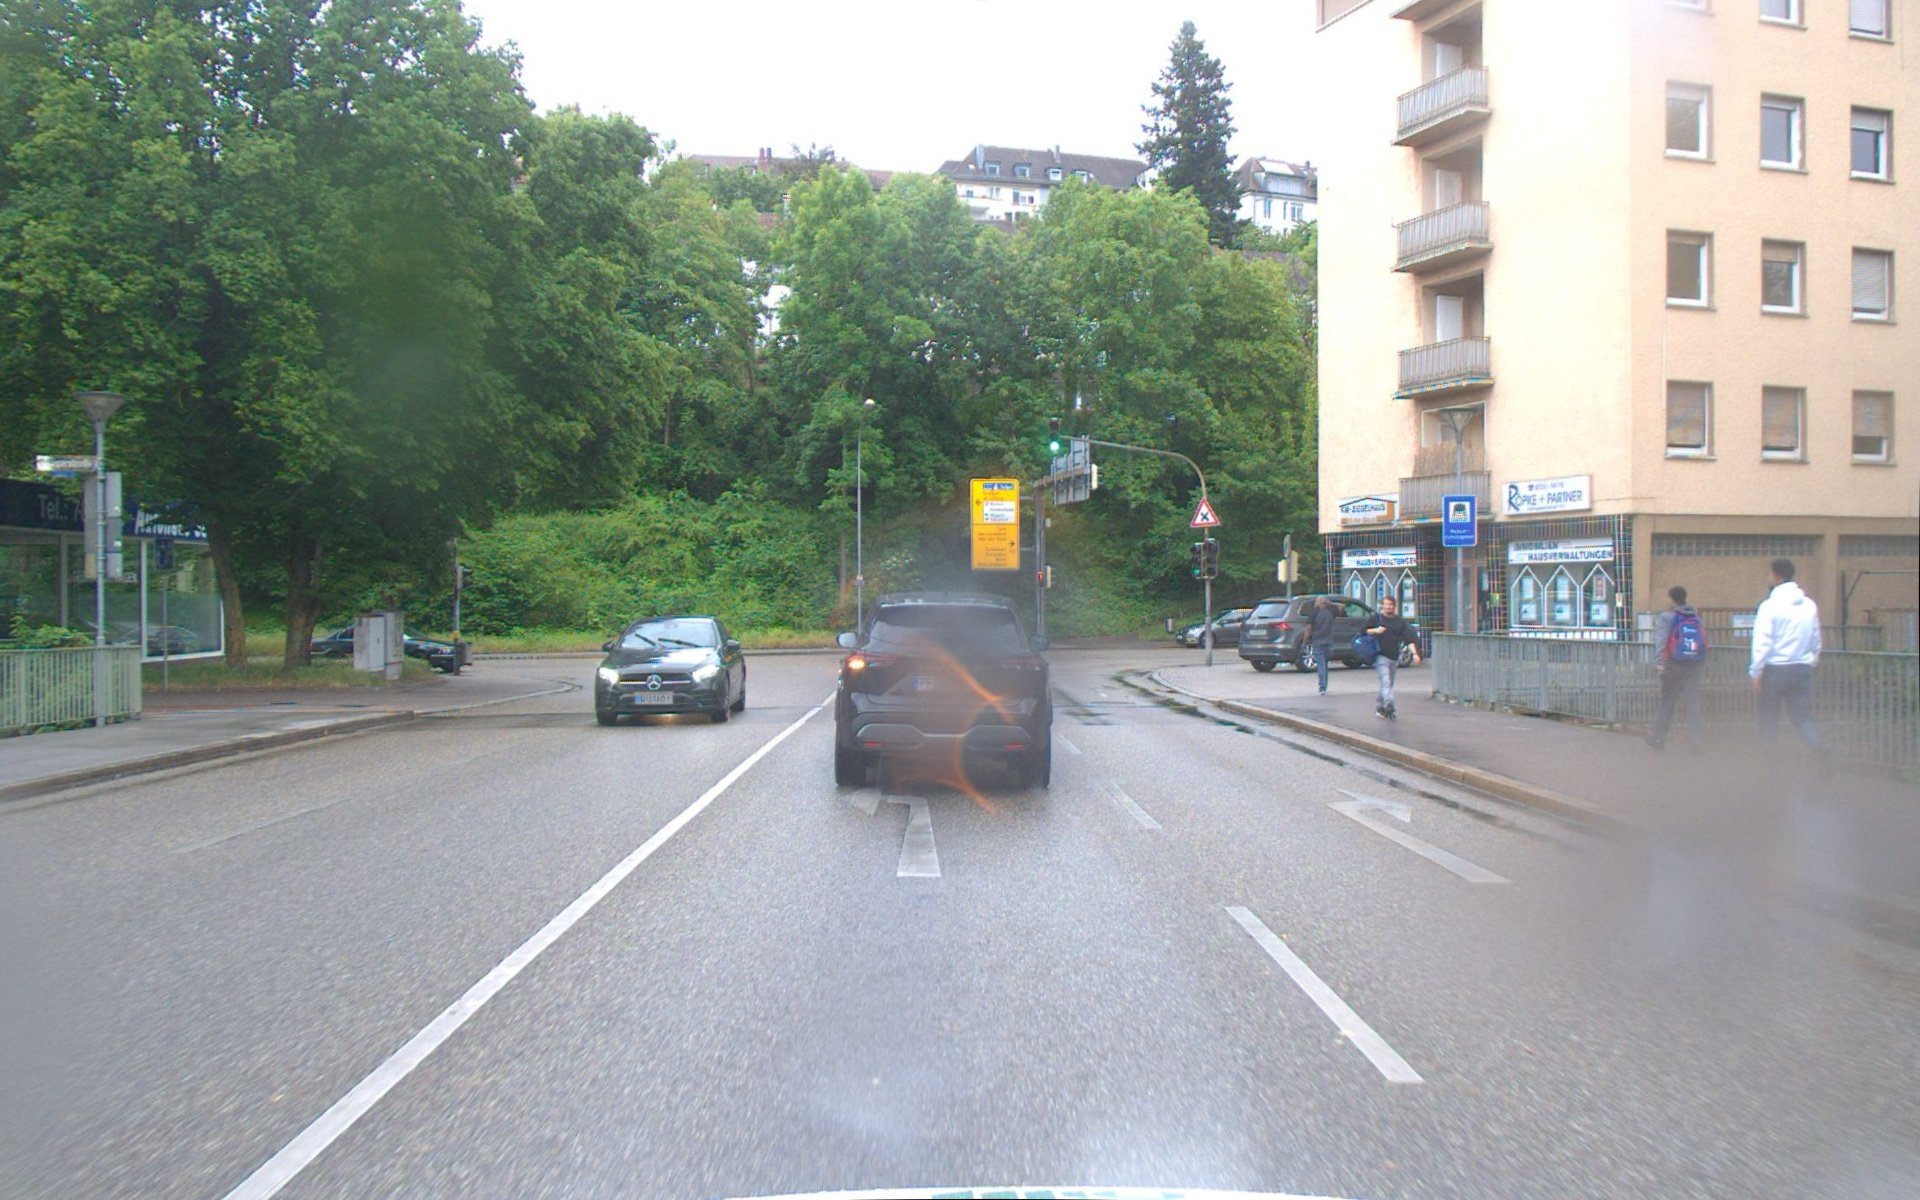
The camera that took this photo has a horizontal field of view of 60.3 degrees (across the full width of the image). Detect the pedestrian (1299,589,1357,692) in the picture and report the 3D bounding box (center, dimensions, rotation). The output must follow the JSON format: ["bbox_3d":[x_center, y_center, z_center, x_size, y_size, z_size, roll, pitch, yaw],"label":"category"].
[{"bbox_3d":[6.269,0.678,28.232,0.745,1.706,0.781,-2,0,-1],"label":"pedestrian"}]

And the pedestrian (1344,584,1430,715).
[{"bbox_3d":[5.549,0.632,21.527,0.845,1.647,0.839,-2,0,-1],"label":"pedestrian"}]

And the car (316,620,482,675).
[{"bbox_3d":[-16.493,1.401,48.690,4.319,1.485,1.735,-2,-1,13],"label":"car"}]

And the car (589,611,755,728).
[{"bbox_3d":[-3.986,0.910,23.486,1.675,1.441,4.093,-2,0,-1],"label":"car"}]

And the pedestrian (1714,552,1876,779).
[{"bbox_3d":[6.850,0.518,13.624,0.764,1.783,1.060,-1,0,-2],"label":"pedestrian"}]

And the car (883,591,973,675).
[{"bbox_3d":[-0.680,0.655,35.153,1.774,1.631,3.999,1,0,-1],"label":"car"}]

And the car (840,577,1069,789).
[{"bbox_3d":[-0.079,0.670,14.848,1.774,1.631,3.999,0,-1,-1],"label":"car"}]

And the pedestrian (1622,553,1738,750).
[{"bbox_3d":[6.963,0.482,16.024,0.745,1.840,0.781,-1,0,-1],"label":"pedestrian"}]

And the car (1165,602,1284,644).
[{"bbox_3d":[10.487,0.900,65.582,4.249,1.528,1.877,-2,0,-13],"label":"car"}]

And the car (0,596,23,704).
[{"bbox_3d":[-19.243,0.909,28.777,4.655,1.886,1.996,0,2,-10],"label":"car"}]

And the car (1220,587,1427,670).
[{"bbox_3d":[8.167,0.614,37.129,4.315,1.678,1.867,-2,0,-27],"label":"car"}]
